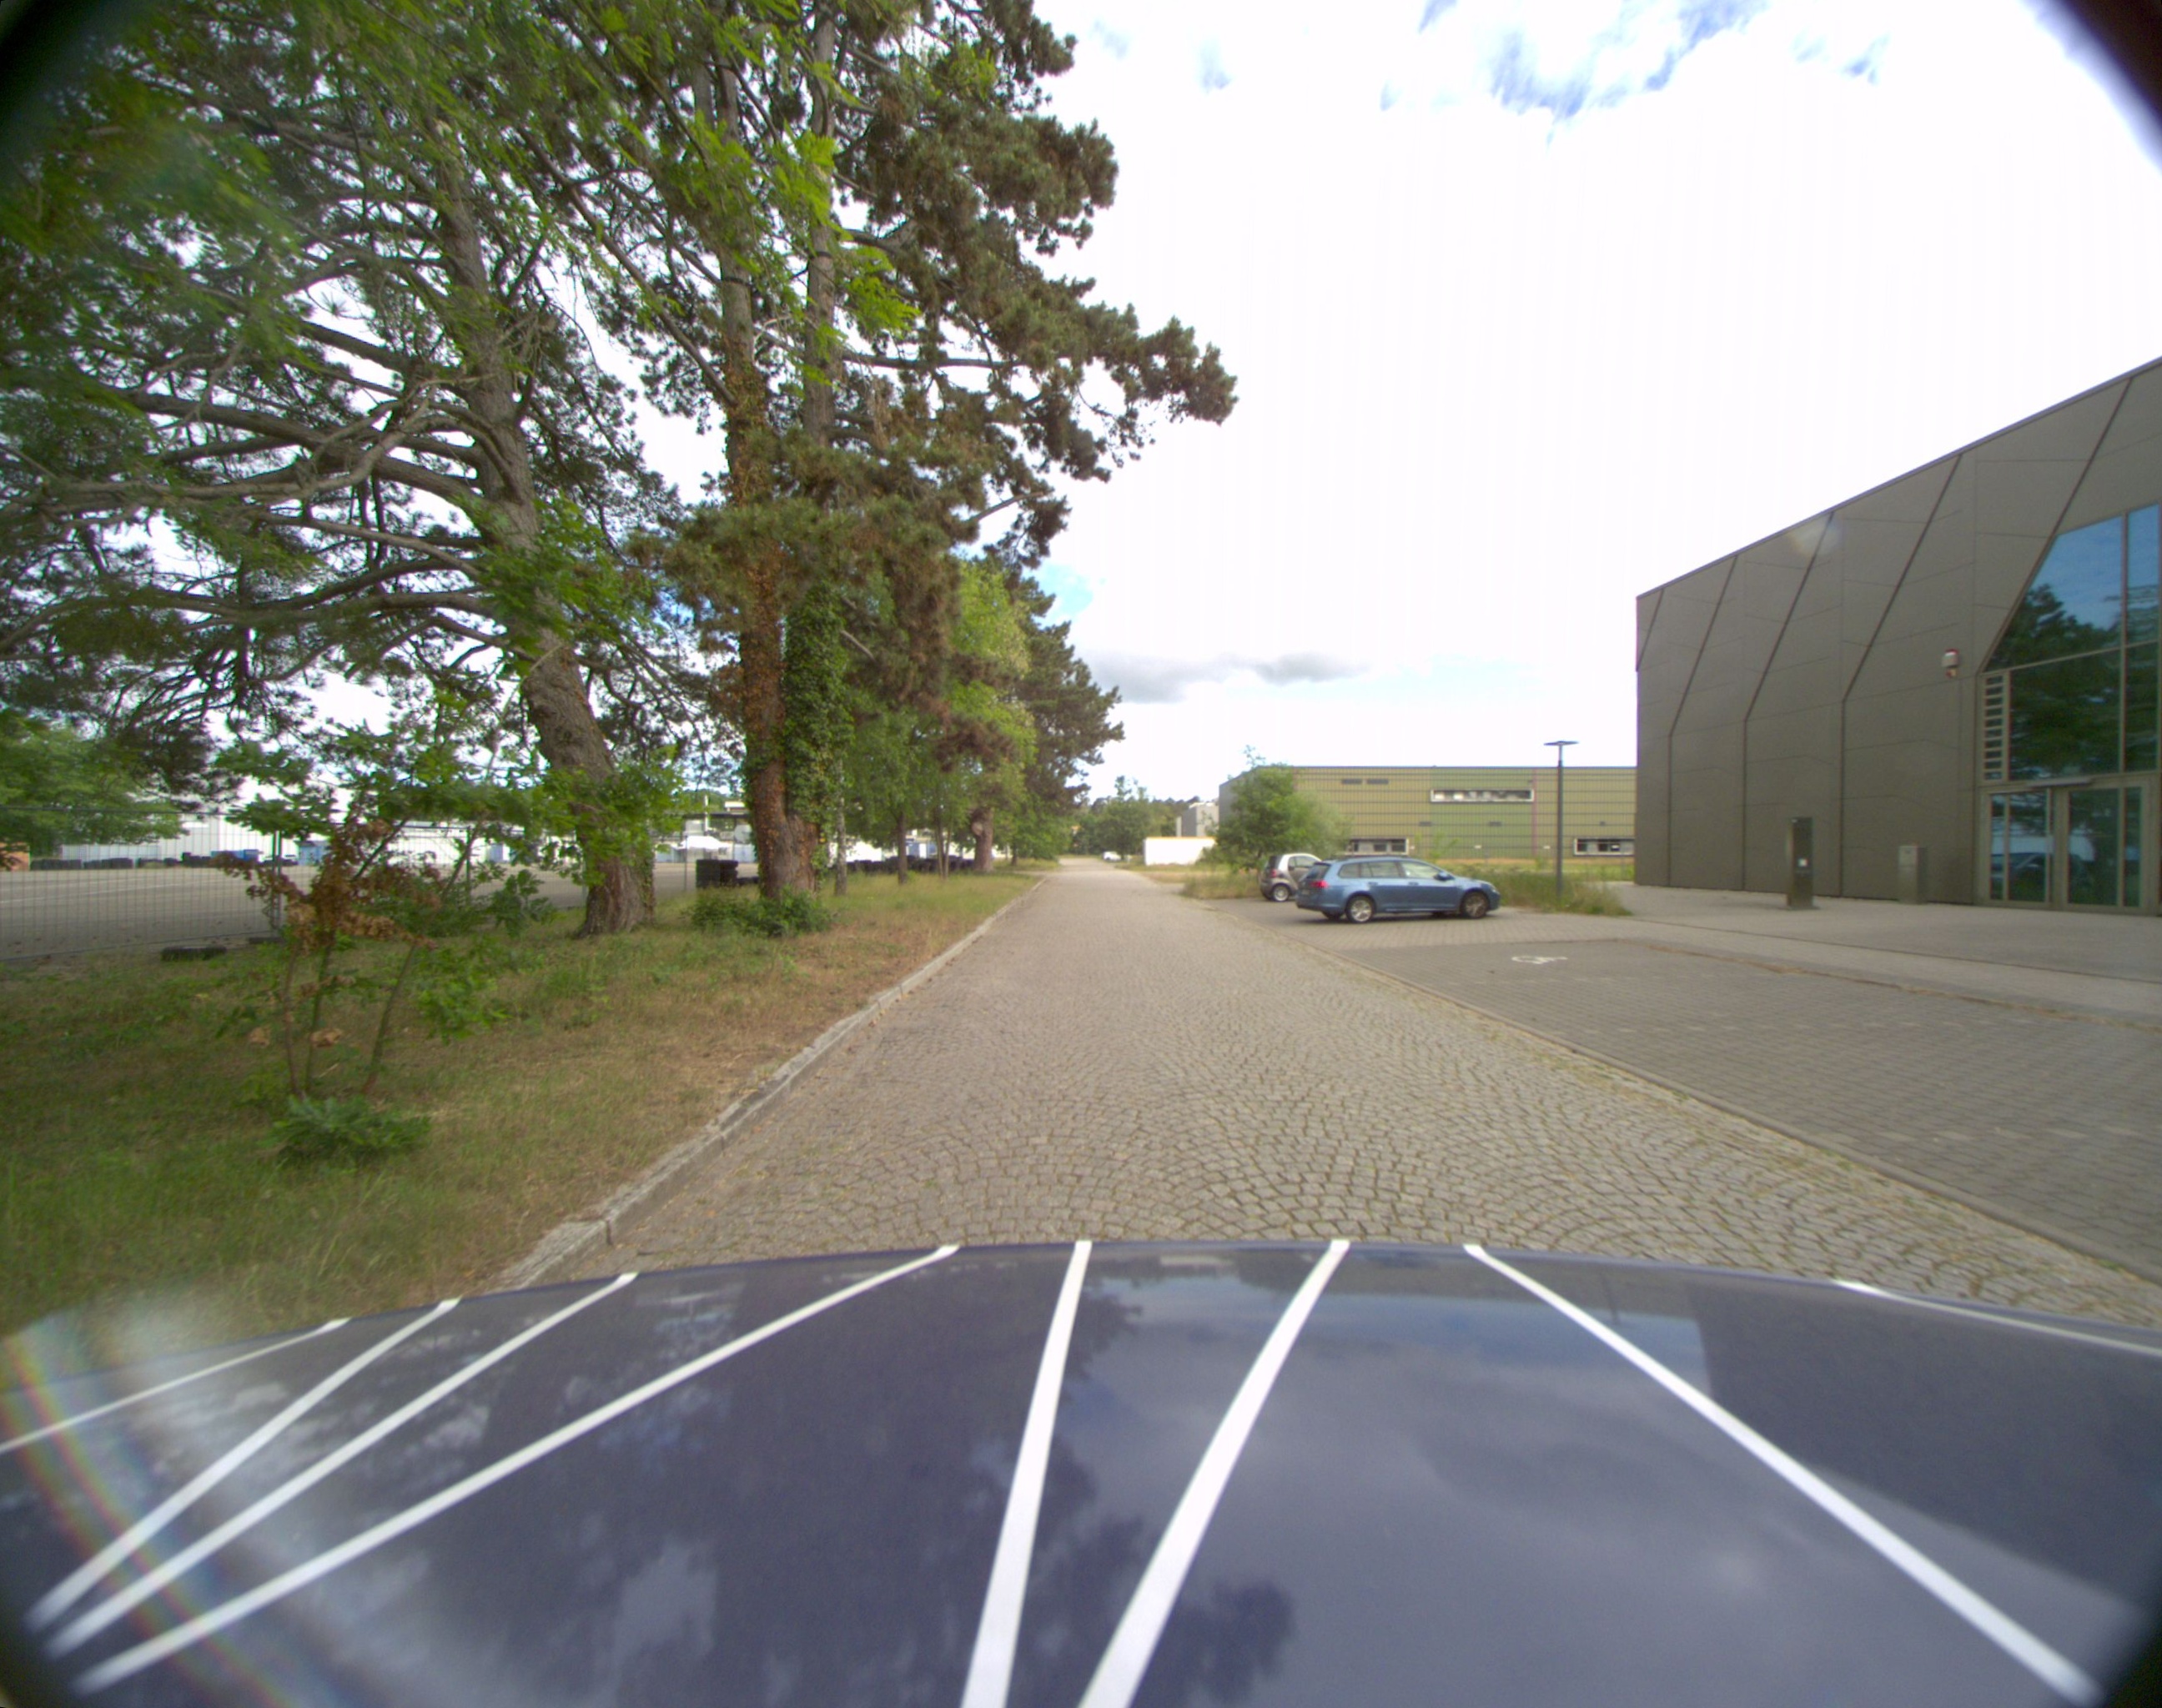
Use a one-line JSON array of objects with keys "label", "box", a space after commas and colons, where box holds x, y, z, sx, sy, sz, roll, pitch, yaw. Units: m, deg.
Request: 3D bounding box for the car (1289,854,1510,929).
[{"label": "car", "box": [7.272, 0.823, 17.598, 4.427, 1.461, 1.633, -2, 1, -2]}]

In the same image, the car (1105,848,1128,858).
[{"label": "car", "box": [6.462, -0.172, 137.384, 4.062, 1.768, 1.792, -1, 1, -1]}]

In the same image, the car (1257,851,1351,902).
[{"label": "car", "box": [7.278, 0.727, 24.966, 2.584, 1.521, 1.500, -2, 1, -2]}]
